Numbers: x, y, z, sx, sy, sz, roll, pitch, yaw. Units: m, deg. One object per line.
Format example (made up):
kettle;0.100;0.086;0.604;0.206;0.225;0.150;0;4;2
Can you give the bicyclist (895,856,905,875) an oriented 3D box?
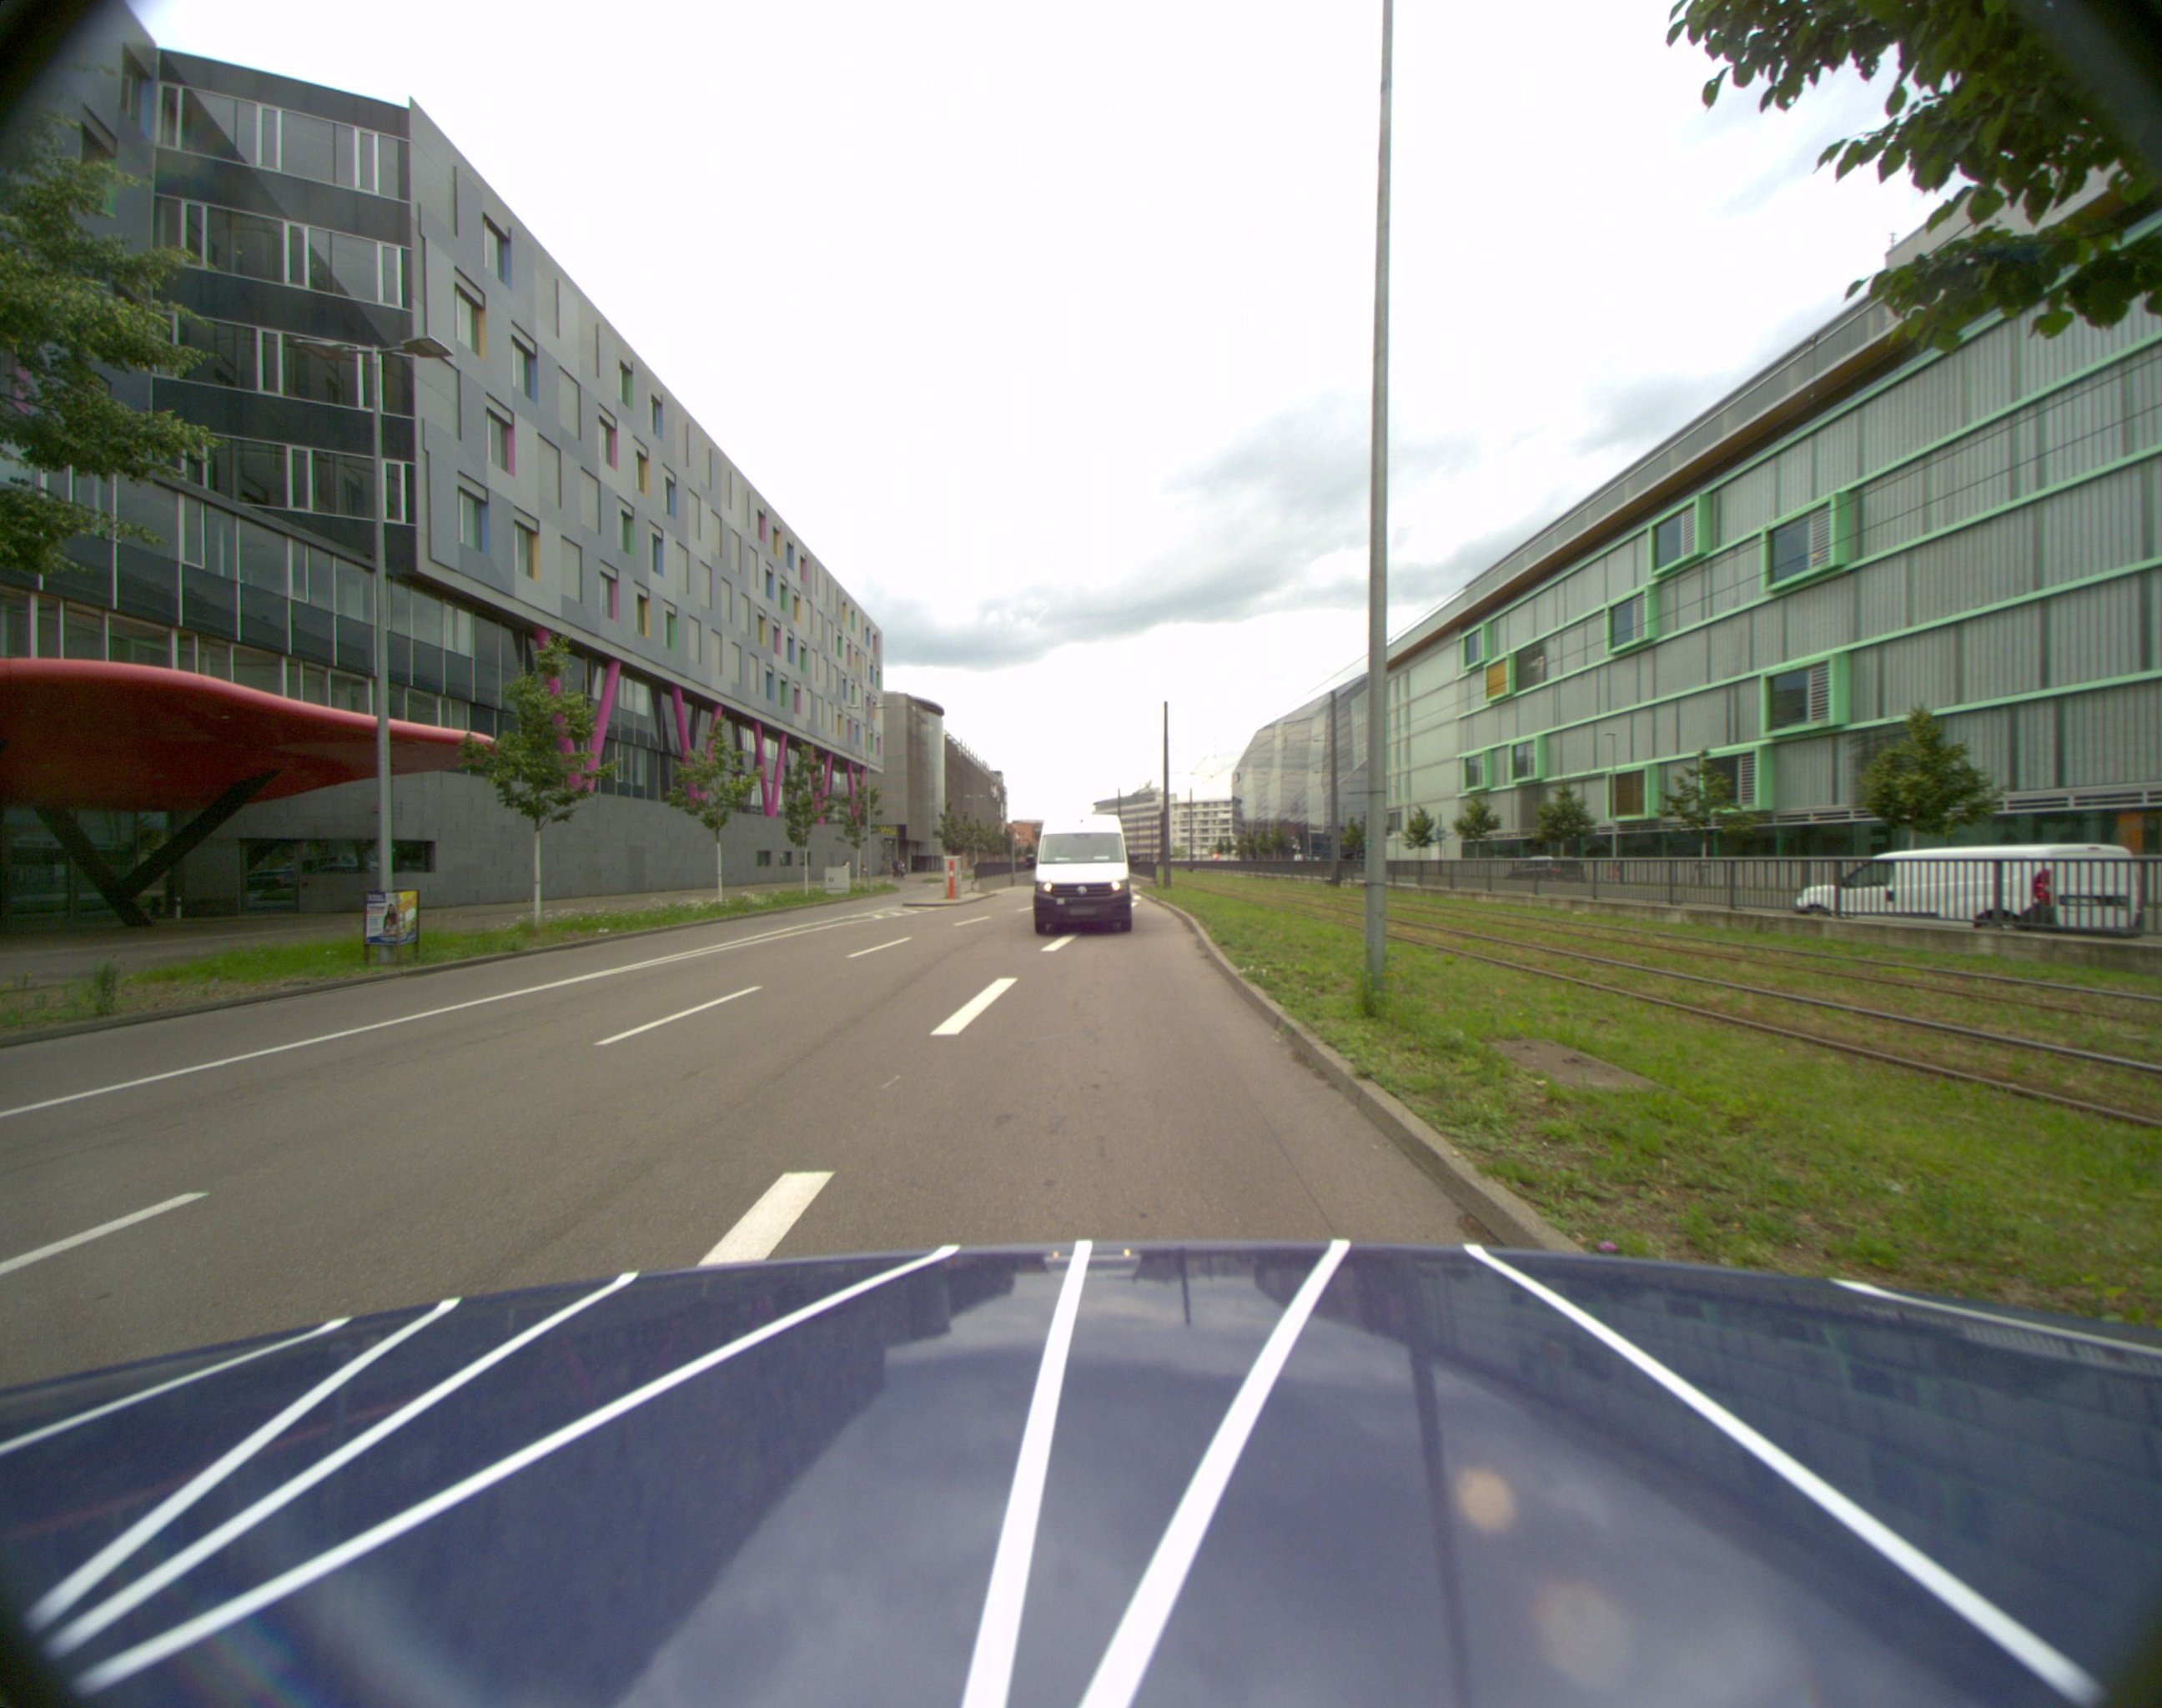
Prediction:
bicyclist;-17.704;1.130;74.304;0.784;1.790;0.705;-2;-4;0

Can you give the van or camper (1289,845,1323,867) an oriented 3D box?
van or camper;24.302;0.202;82.207;2.178;2.273;5.359;-1;0;1

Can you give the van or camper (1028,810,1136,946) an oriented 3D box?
van or camper;0.024;0.465;17.170;2.043;2.572;5.041;-1;0;0

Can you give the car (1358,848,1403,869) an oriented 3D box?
car;24.709;0.375;62.823;1.998;1.656;4.647;0;0;1

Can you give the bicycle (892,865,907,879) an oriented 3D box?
bicycle;-17.686;1.760;74.102;0.801;1.150;2.346;-2;-4;0

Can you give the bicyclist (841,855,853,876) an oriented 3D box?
bicyclist;-20.074;1.008;65.091;0.772;1.776;0.974;-1;0;-4

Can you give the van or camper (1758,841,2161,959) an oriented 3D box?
van or camper;16.457;0.737;14.800;1.894;1.889;5.124;0;0;-1

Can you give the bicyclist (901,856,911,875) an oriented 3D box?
bicyclist;-16.346;1.069;70.942;0.784;1.792;0.705;-2;0;0

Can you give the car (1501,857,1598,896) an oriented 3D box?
car;23.982;1.103;39.115;1.998;1.813;4.968;-1;0;1

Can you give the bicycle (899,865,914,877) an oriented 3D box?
bicycle;-16.329;1.575;71.060;0.801;1.151;2.345;-2;-1;0

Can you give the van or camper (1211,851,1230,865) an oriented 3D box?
van or camper;23.806;0.635;129.619;2.178;2.273;6.507;-2;0;1

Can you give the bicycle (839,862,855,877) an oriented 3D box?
bicycle;-20.074;1.321;65.245;0.785;1.187;2.220;-1;0;-2
